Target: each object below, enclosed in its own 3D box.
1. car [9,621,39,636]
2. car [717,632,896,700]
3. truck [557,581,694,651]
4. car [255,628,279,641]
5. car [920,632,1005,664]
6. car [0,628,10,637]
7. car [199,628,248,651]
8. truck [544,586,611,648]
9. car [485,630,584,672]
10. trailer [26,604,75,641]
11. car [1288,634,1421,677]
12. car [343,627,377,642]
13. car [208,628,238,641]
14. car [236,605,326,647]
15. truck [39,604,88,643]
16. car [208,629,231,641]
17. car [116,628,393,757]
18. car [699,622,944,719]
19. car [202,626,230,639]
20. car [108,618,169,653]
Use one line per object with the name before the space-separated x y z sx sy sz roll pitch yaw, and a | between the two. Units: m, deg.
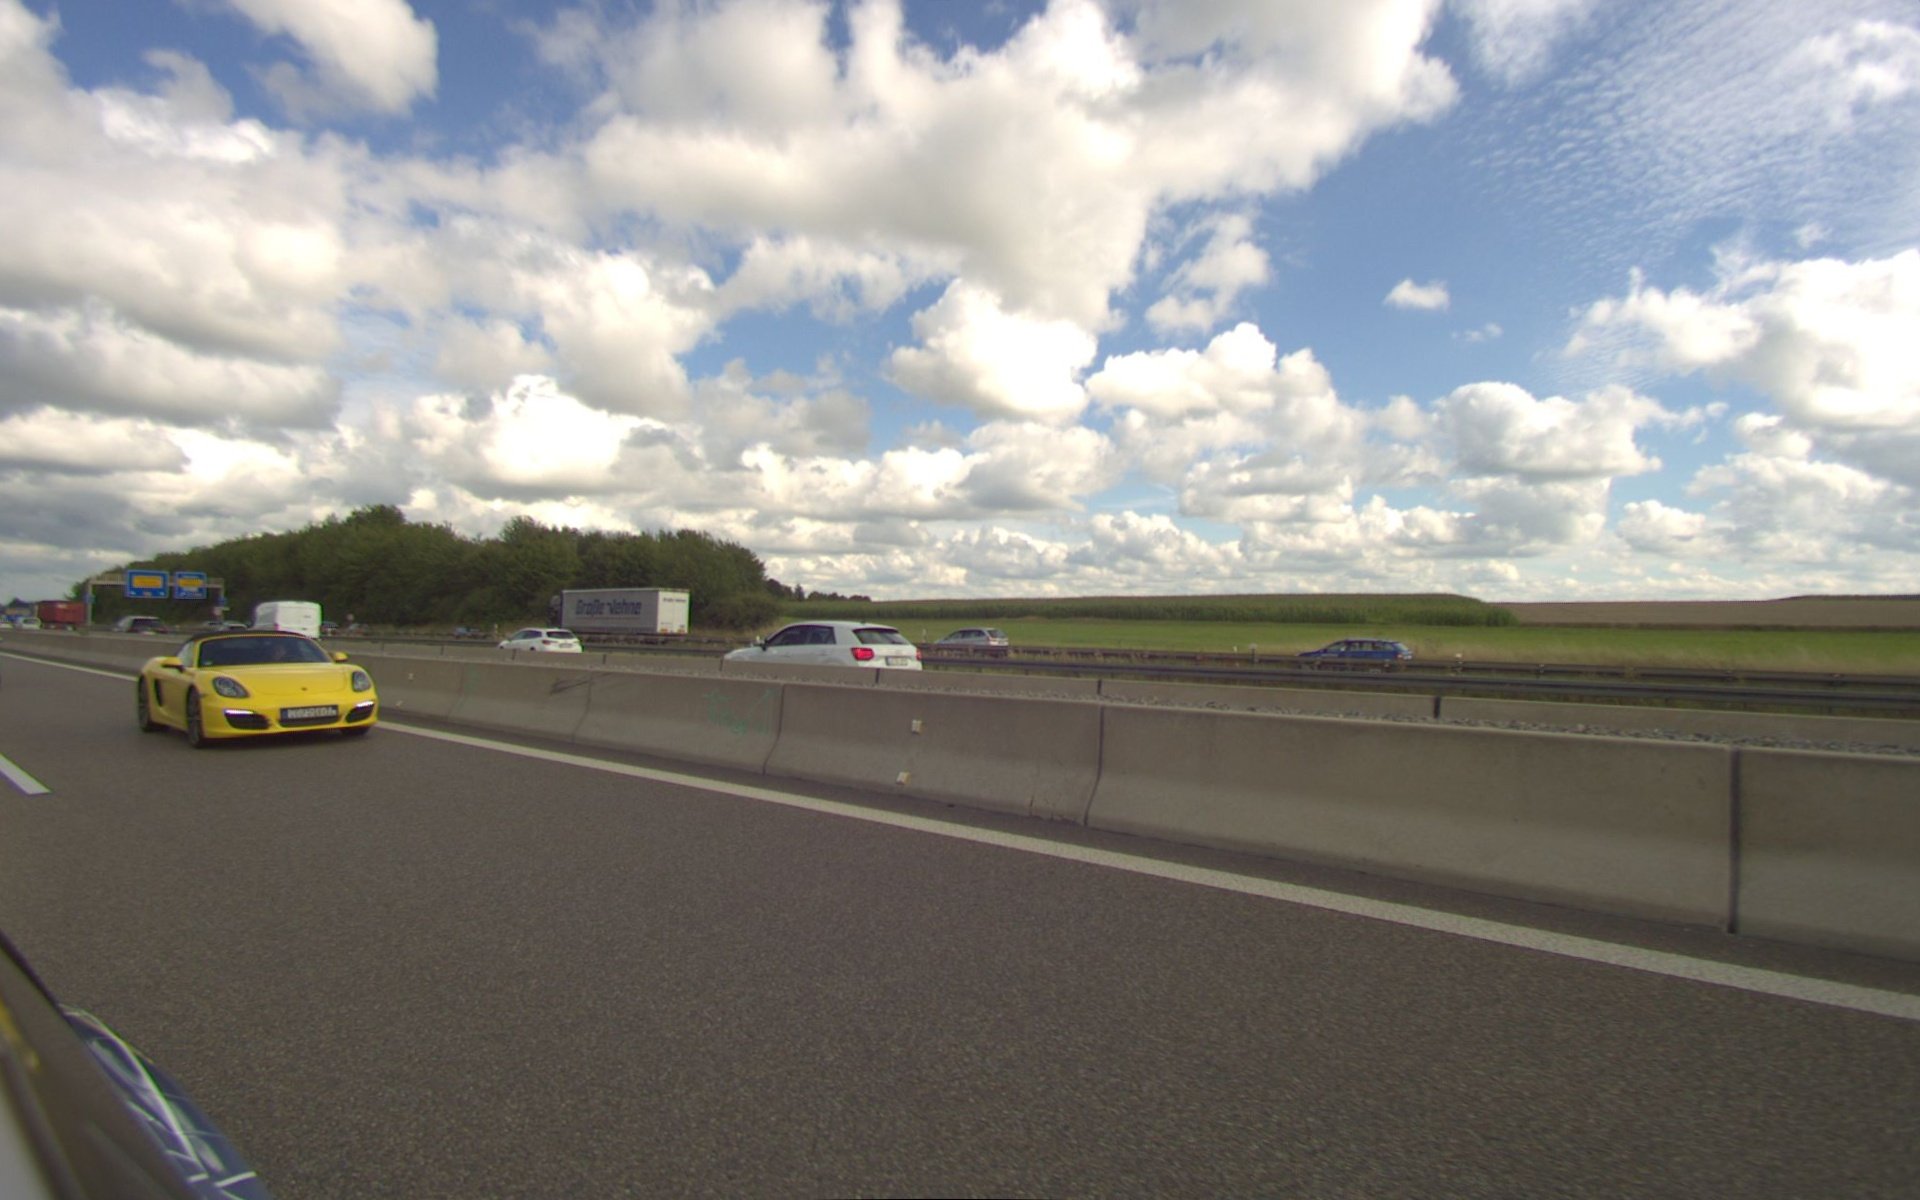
car | -99.404 3.033 107.509 4.939 1.543 1.745 -1 -2 40
car | -3.668 1.477 23.717 4.488 1.414 1.620 -1 -1 40
truck | -25.258 1.229 75.654 14.121 4.839 3.042 -1 -1 41
car | -89.532 4.456 130.724 3.998 1.567 1.649 -1 -1 41
car | 0.094 2.467 53.105 4.449 1.545 1.711 -1 -1 41
car | -141.523 4.786 149.294 4.128 1.202 1.638 -1 -2 41
car | -51.485 2.737 70.712 4.714 1.543 1.745 -1 -2 41
truck | -30.255 1.372 80.025 5.070 4.694 3.013 -1 -2 42
car | -17.320 2.030 41.071 4.861 1.541 1.708 -1 -1 40
trailer | -110.352 2.728 122.709 10.648 4.321 3.015 -1 -2 41
car | 15.462 2.142 39.831 4.605 1.545 1.711 -1 -1 41
car | -66.702 3.835 112.561 4.801 1.577 1.729 -1 -2 39
car | -86.439 4.035 118.693 4.939 1.543 1.745 -1 -1 40
car | -33.744 1.276 50.239 5.831 1.982 2.330 -1 -1 42
truck | -103.455 2.715 116.740 8.583 4.321 3.015 -1 -2 41
car | -98.708 4.626 134.957 3.998 1.567 1.649 -1 -1 41
car | -8.846 1.042 12.562 4.245 1.325 1.788 -1 -3 41
car | -2.610 1.169 18.291 4.715 1.543 1.745 -1 -2 41
car | -100.961 4.382 137.245 5.132 1.713 1.973 -1 -1 41
car | -43.874 1.869 53.996 4.700 1.744 1.745 -1 -1 41
